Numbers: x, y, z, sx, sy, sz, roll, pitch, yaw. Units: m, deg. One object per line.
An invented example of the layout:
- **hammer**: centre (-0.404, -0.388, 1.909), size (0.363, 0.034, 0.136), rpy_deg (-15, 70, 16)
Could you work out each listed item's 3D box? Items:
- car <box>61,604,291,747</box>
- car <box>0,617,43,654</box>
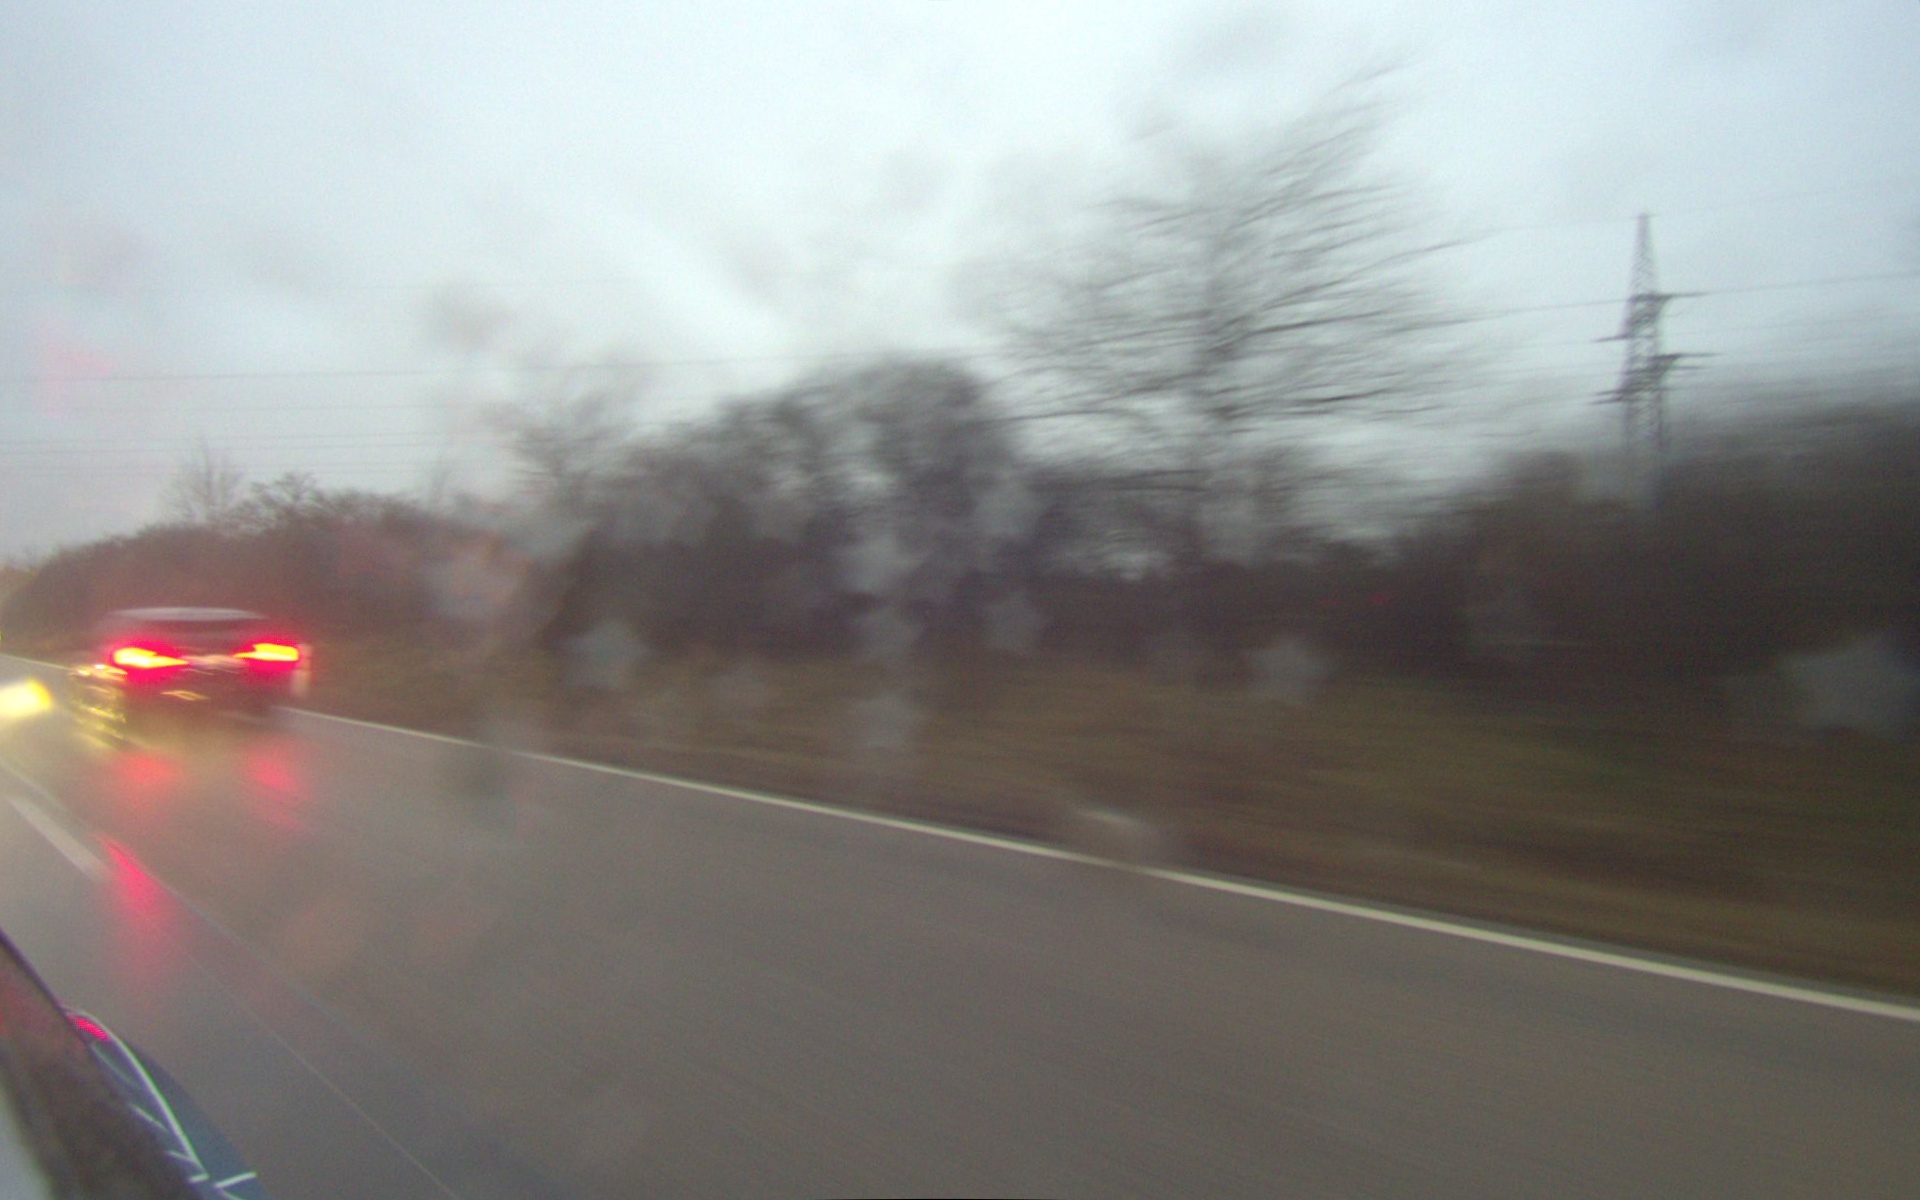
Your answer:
- **car**: centre (-10.737, 0.910, 13.756), size (4.047, 1.659, 1.734), rpy_deg (-1, -1, 41)
- **car**: centre (-48.793, 1.788, 52.097), size (3.999, 1.798, 1.972), rpy_deg (-1, 0, 42)
